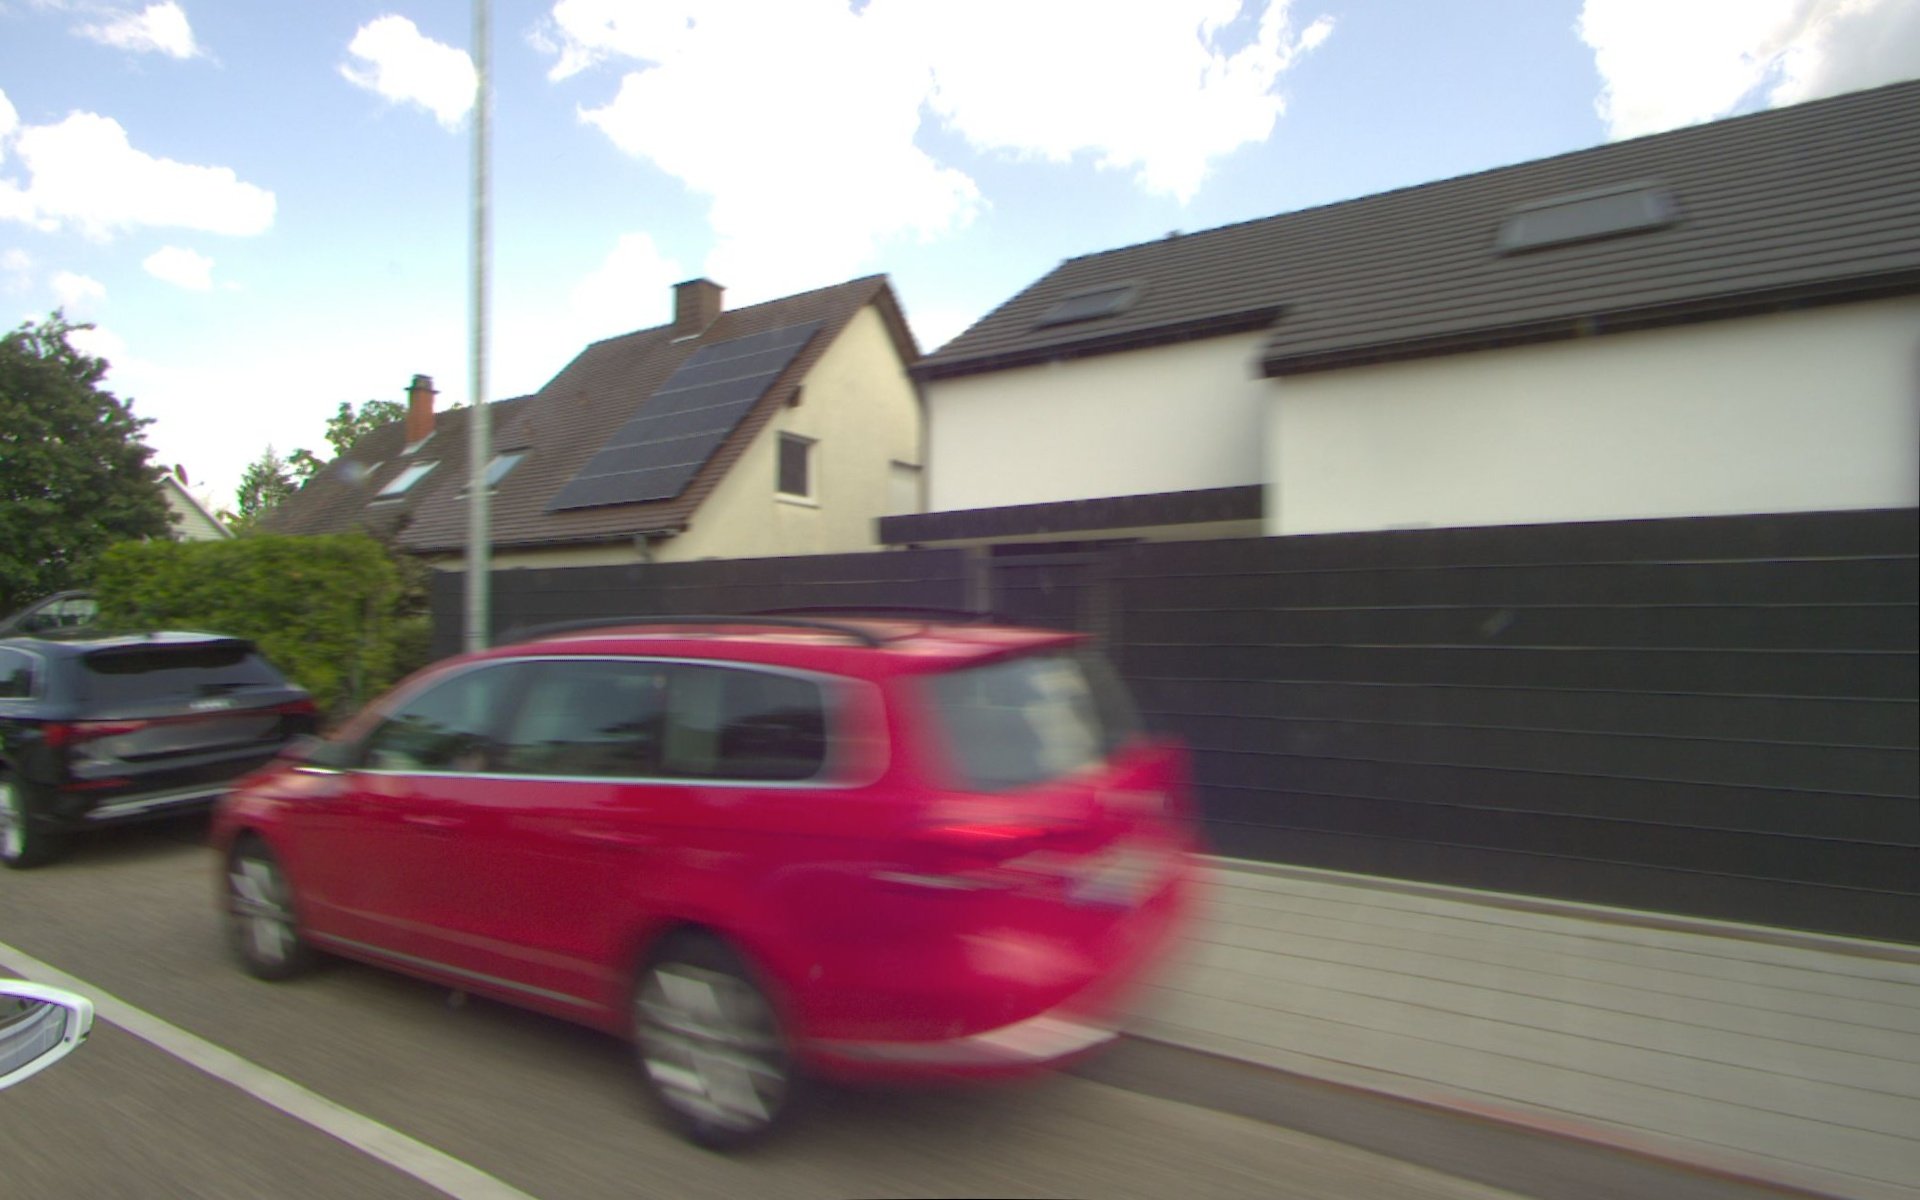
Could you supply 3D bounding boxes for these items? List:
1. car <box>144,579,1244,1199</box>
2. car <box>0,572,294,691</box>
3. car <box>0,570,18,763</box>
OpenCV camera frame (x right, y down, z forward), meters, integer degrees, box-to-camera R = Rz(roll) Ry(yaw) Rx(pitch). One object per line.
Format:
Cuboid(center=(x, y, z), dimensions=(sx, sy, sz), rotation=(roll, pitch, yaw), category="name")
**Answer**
Cuboid(center=(-1.374, 0.805, 4.263), dimensions=(4.664, 1.599, 1.847), rotation=(-1, -2, 32), category="car")
Cuboid(center=(-16.247, 0.633, 19.397), dimensions=(5.308, 2.083, 1.981), rotation=(3, -3, -44), category="car")
Cuboid(center=(-12.297, 0.706, 10.698), dimensions=(4.801, 1.970, 1.840), rotation=(0, 1, 29), category="car")
